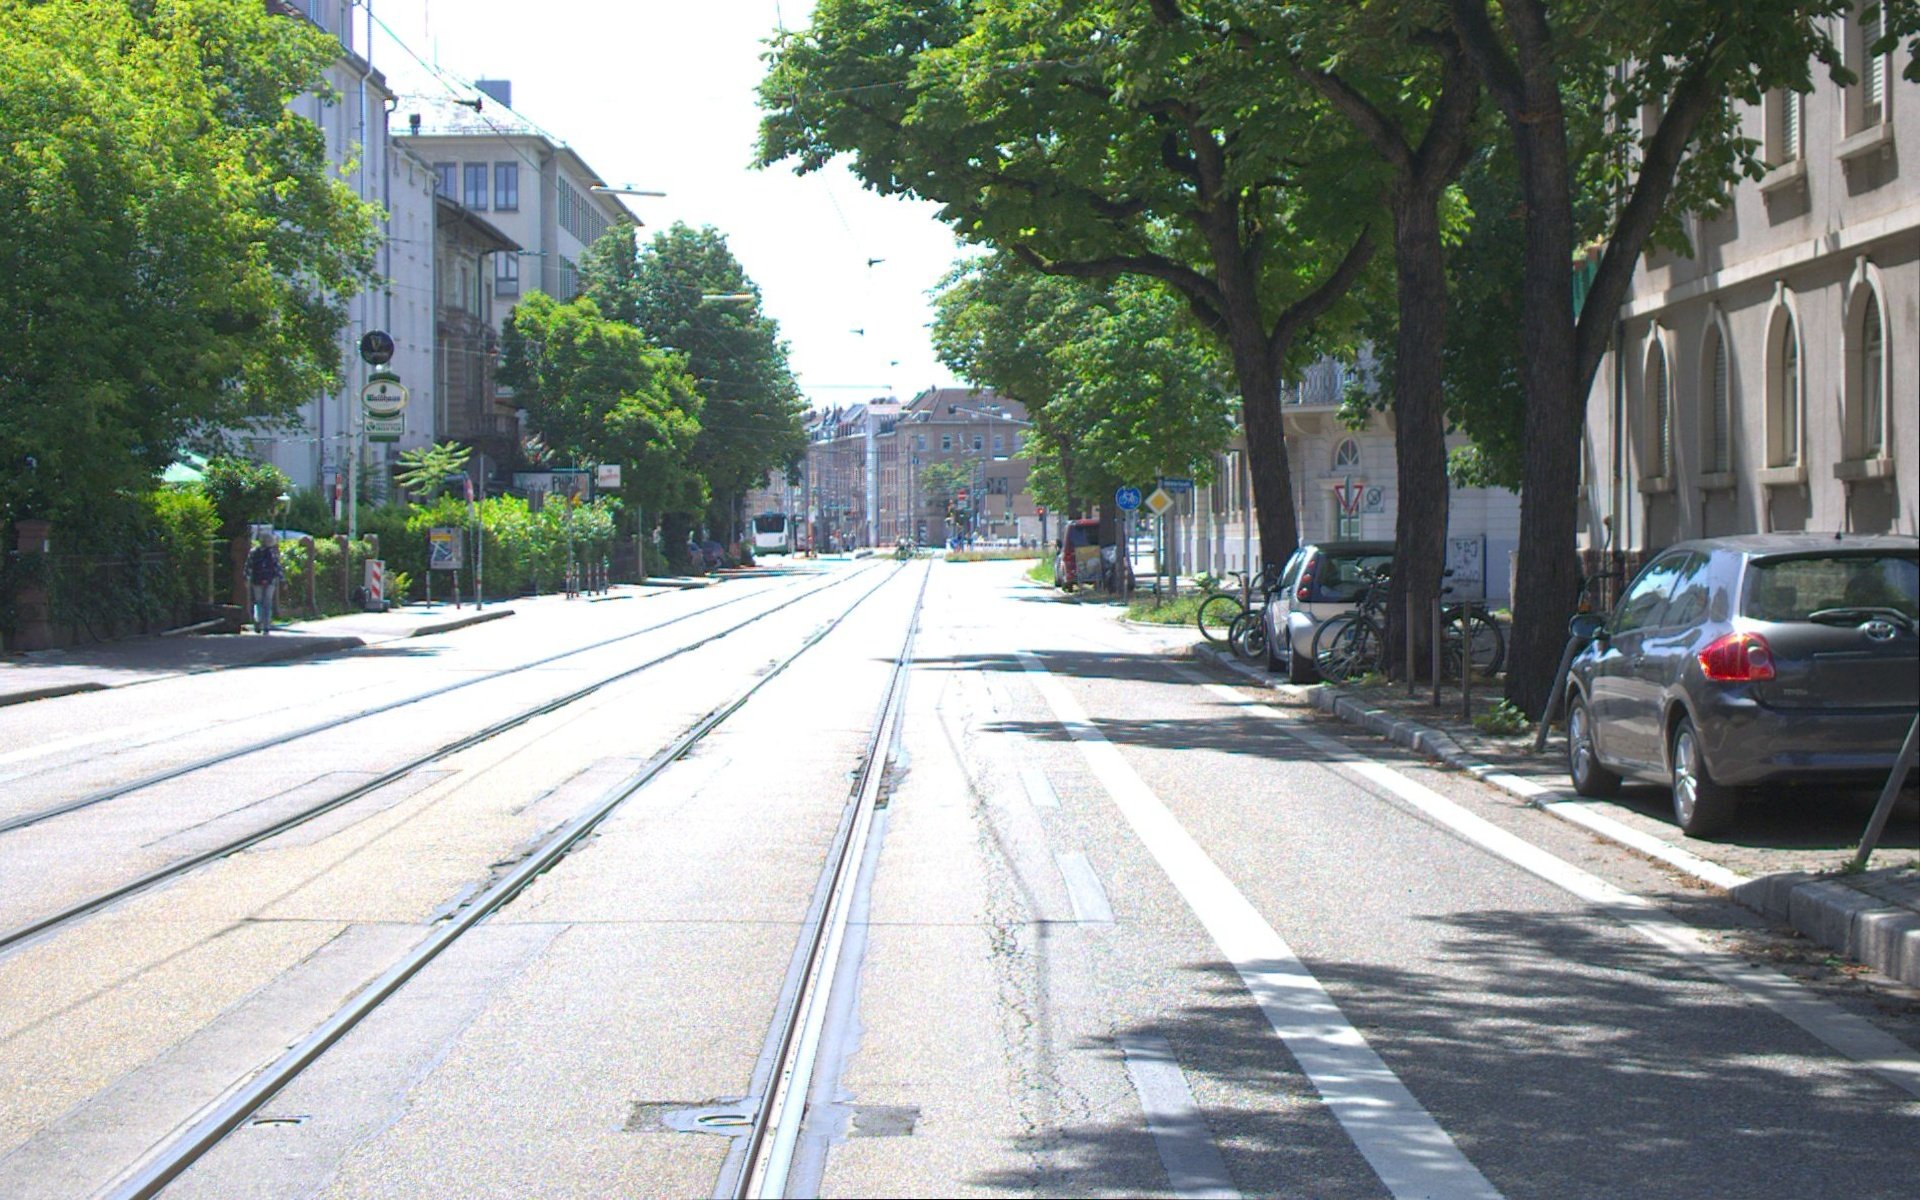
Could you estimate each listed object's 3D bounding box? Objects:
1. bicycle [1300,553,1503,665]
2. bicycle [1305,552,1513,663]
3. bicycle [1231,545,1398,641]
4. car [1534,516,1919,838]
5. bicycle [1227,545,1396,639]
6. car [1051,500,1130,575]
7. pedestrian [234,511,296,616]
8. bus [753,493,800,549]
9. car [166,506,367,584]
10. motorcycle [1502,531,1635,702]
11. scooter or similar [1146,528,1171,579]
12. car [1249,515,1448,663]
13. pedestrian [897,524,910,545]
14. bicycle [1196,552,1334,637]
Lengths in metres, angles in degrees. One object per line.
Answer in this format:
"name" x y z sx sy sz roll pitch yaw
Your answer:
"bicycle" 4.202 0.085 32.768 1.890 1.048 0.538 0 1 7
"bicycle" 4.324 0.071 33.184 1.963 1.059 0.598 0 1 7
"bicycle" 4.306 -0.085 41.847 1.963 1.109 0.598 -1 0 2
"car" 4.458 0.320 18.831 1.774 1.496 4.306 -2 2 -1
"bicycle" 4.334 -0.097 42.462 2.010 1.109 0.640 -1 0 2
"car" 3.614 -1.763 95.794 1.993 2.028 4.697 -1 2 0
"pedestrian" -10.819 -0.577 53.538 0.751 1.623 0.833 0 1 4
"bus" -13.525 -5.823 254.183 2.931 3.923 11.275 2 1 -1
"car" -17.216 -1.383 85.363 4.484 1.897 1.998 1 1 17
"motorcycle" 4.904 0.106 27.681 0.997 1.295 2.377 0 1 10
"scooter or similar" 4.827 -1.140 83.764 0.501 1.225 1.573 0 1 -1
"car" 4.171 -0.137 37.399 1.621 1.443 3.810 -3 1 -1
"pedestrian" -3.233 -3.734 196.589 0.491 1.169 0.590 -1 1 -29
"bicycle" 4.165 -0.078 46.986 1.816 1.109 0.493 -1 0 -1
